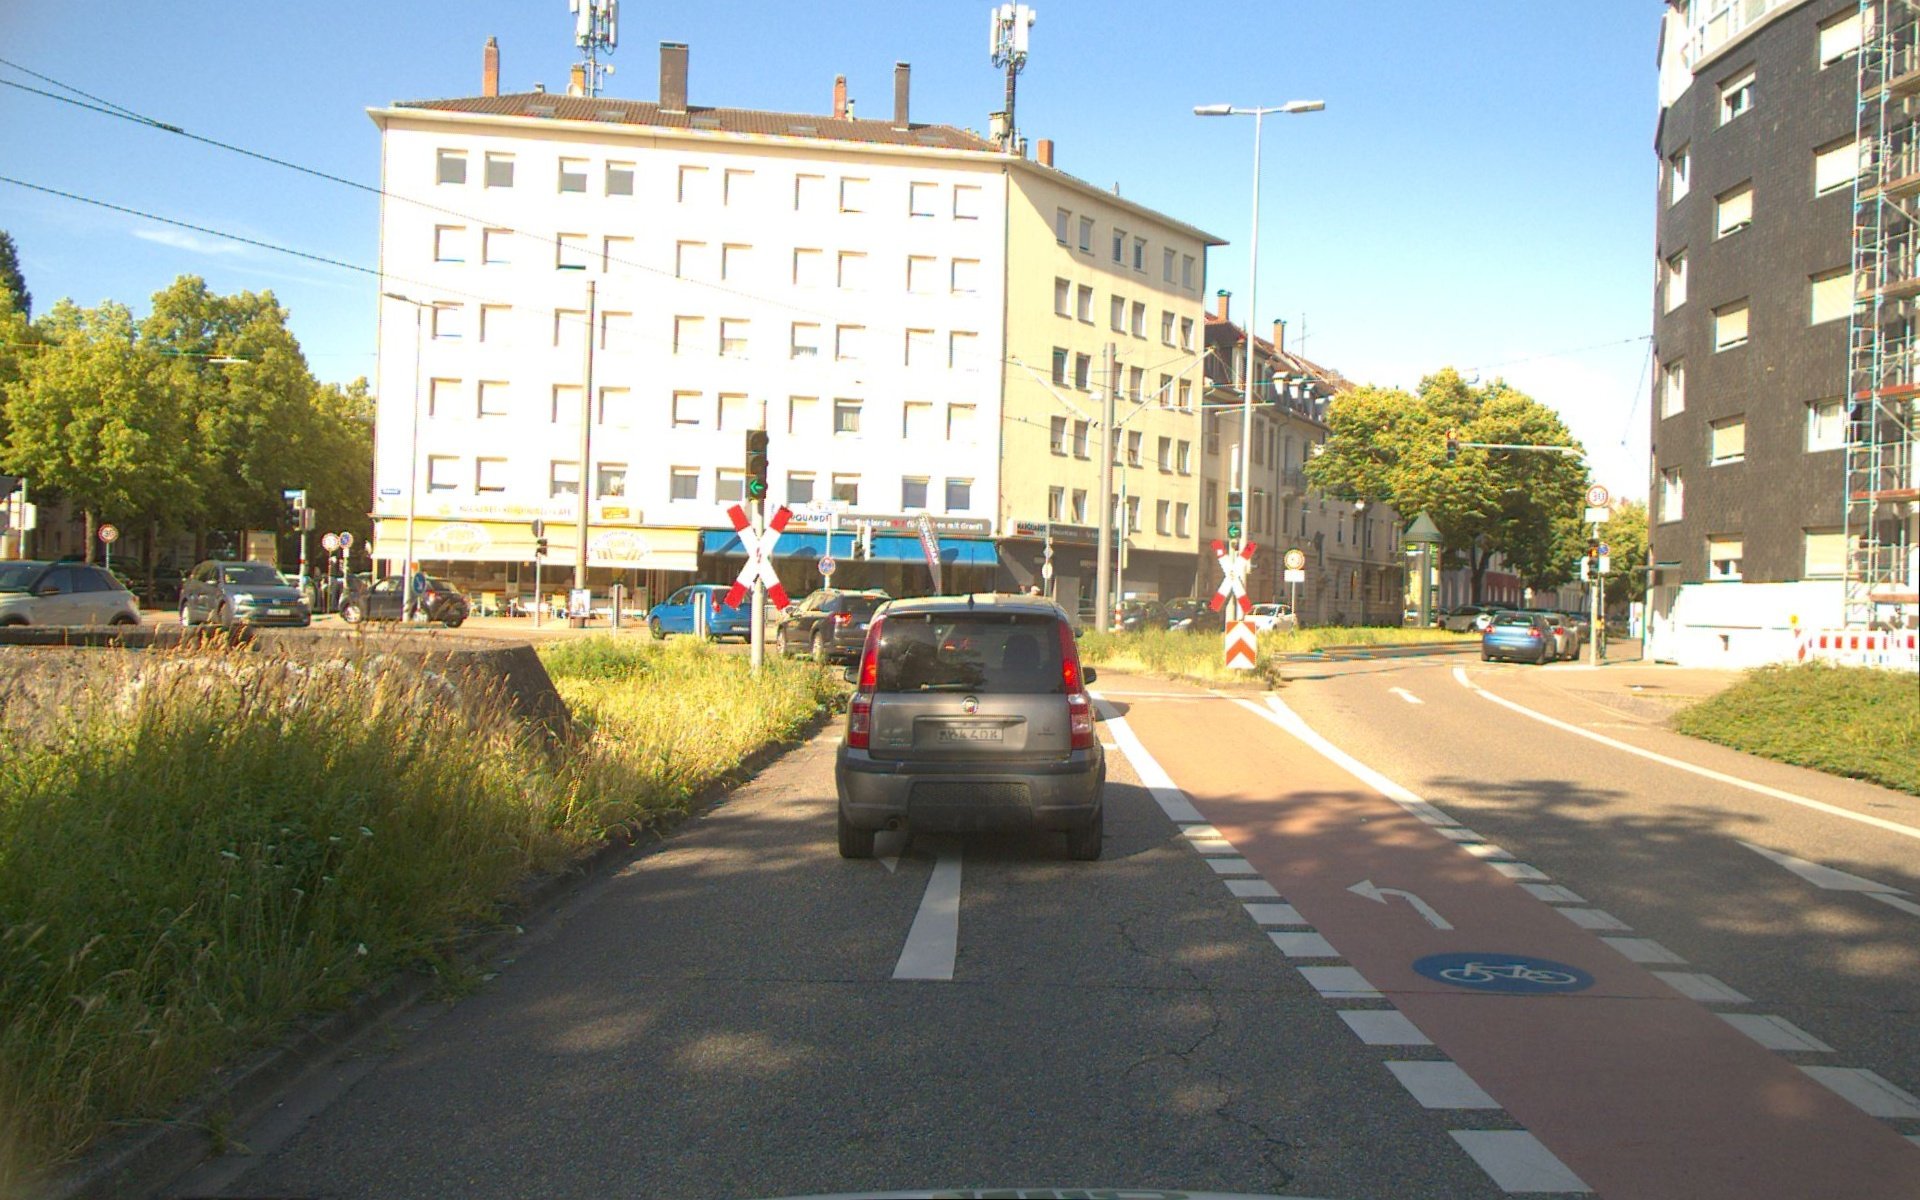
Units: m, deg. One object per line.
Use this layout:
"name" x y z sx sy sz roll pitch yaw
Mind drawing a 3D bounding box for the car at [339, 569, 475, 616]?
"car" -16.393 -0.236 49.023 3.540 1.275 1.696 2 0 21

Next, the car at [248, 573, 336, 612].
"car" -24.822 -0.290 61.619 1.955 1.333 3.995 2 0 -6

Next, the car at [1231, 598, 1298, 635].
"car" 13.084 0.694 71.002 1.757 1.508 3.526 2 0 29

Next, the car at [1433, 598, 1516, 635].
"car" 24.755 0.777 79.717 1.875 1.621 3.979 1 0 -18

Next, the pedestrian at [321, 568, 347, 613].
"pedestrian" -23.189 -0.340 61.258 0.782 1.649 0.822 1 0 -28

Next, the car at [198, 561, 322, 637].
"car" -16.324 -0.054 38.442 1.738 1.642 4.667 2 0 -34

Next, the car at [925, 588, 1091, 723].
"car" 0.494 0.608 20.197 1.589 1.454 3.684 2 0 -5

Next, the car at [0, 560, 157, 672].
"car" -14.496 0.194 25.314 1.951 1.589 4.389 2 0 5

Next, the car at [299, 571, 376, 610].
"car" -26.101 -0.382 69.472 1.898 1.539 3.936 2 0 -4

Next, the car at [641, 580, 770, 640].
"car" -6.731 0.258 43.664 3.337 1.463 1.641 2 0 43

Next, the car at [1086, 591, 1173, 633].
"car" 6.071 0.430 58.871 1.757 1.420 3.718 2 0 29

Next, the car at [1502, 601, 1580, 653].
"car" 18.464 0.829 52.437 1.784 1.534 3.995 1 1 27

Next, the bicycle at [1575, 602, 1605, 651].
"bicycle" 20.356 0.850 53.377 0.562 1.537 2.804 2 0 27

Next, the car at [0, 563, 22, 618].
"car" -27.824 -0.242 43.907 4.771 1.467 1.733 0 0 -5

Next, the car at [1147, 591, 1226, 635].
"car" 8.808 0.500 64.047 1.757 1.593 3.760 2 0 29

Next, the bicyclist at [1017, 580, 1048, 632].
"bicyclist" 2.249 0.193 51.450 0.804 1.586 0.562 1 0 18

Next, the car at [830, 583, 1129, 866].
"car" 0.000 0.686 10.783 1.627 1.536 3.249 2 0 -4

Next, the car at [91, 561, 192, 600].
"car" -35.990 -0.842 72.713 3.909 1.567 1.998 2 0 26

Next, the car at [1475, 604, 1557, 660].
"car" 16.193 0.900 48.055 1.740 1.468 3.615 2 1 26

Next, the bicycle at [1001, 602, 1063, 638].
"bicycle" 2.243 0.628 51.452 1.812 1.050 0.589 2 0 18

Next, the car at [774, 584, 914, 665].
"car" -2.473 0.462 34.169 1.734 1.512 4.267 2 0 -20
